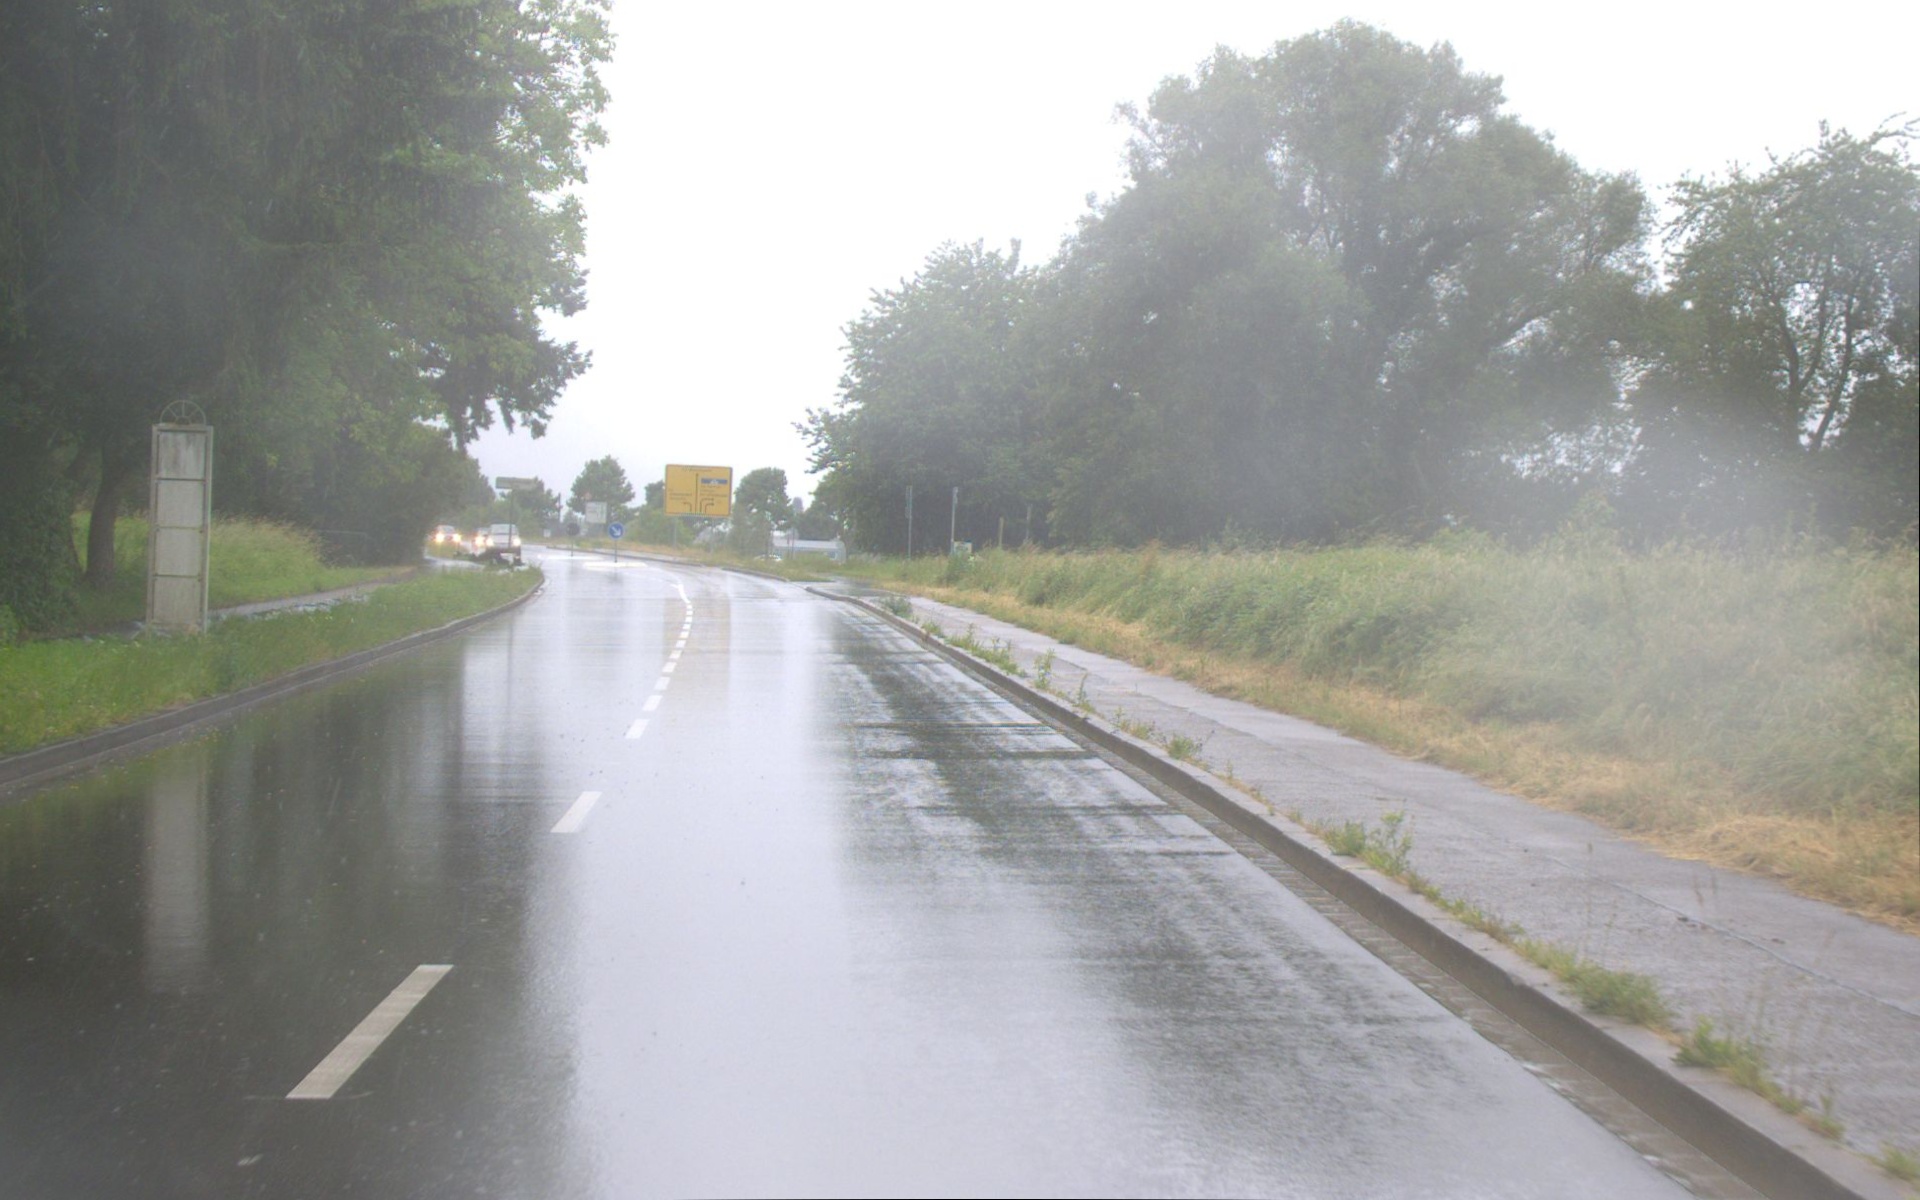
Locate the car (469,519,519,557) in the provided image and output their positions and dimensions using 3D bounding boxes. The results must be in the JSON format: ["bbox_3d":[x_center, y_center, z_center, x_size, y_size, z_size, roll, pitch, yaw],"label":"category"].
[{"bbox_3d":[-23.374,-3.123,172.213,1.760,1.546,4.003,1,6,-18],"label":"car"}]
